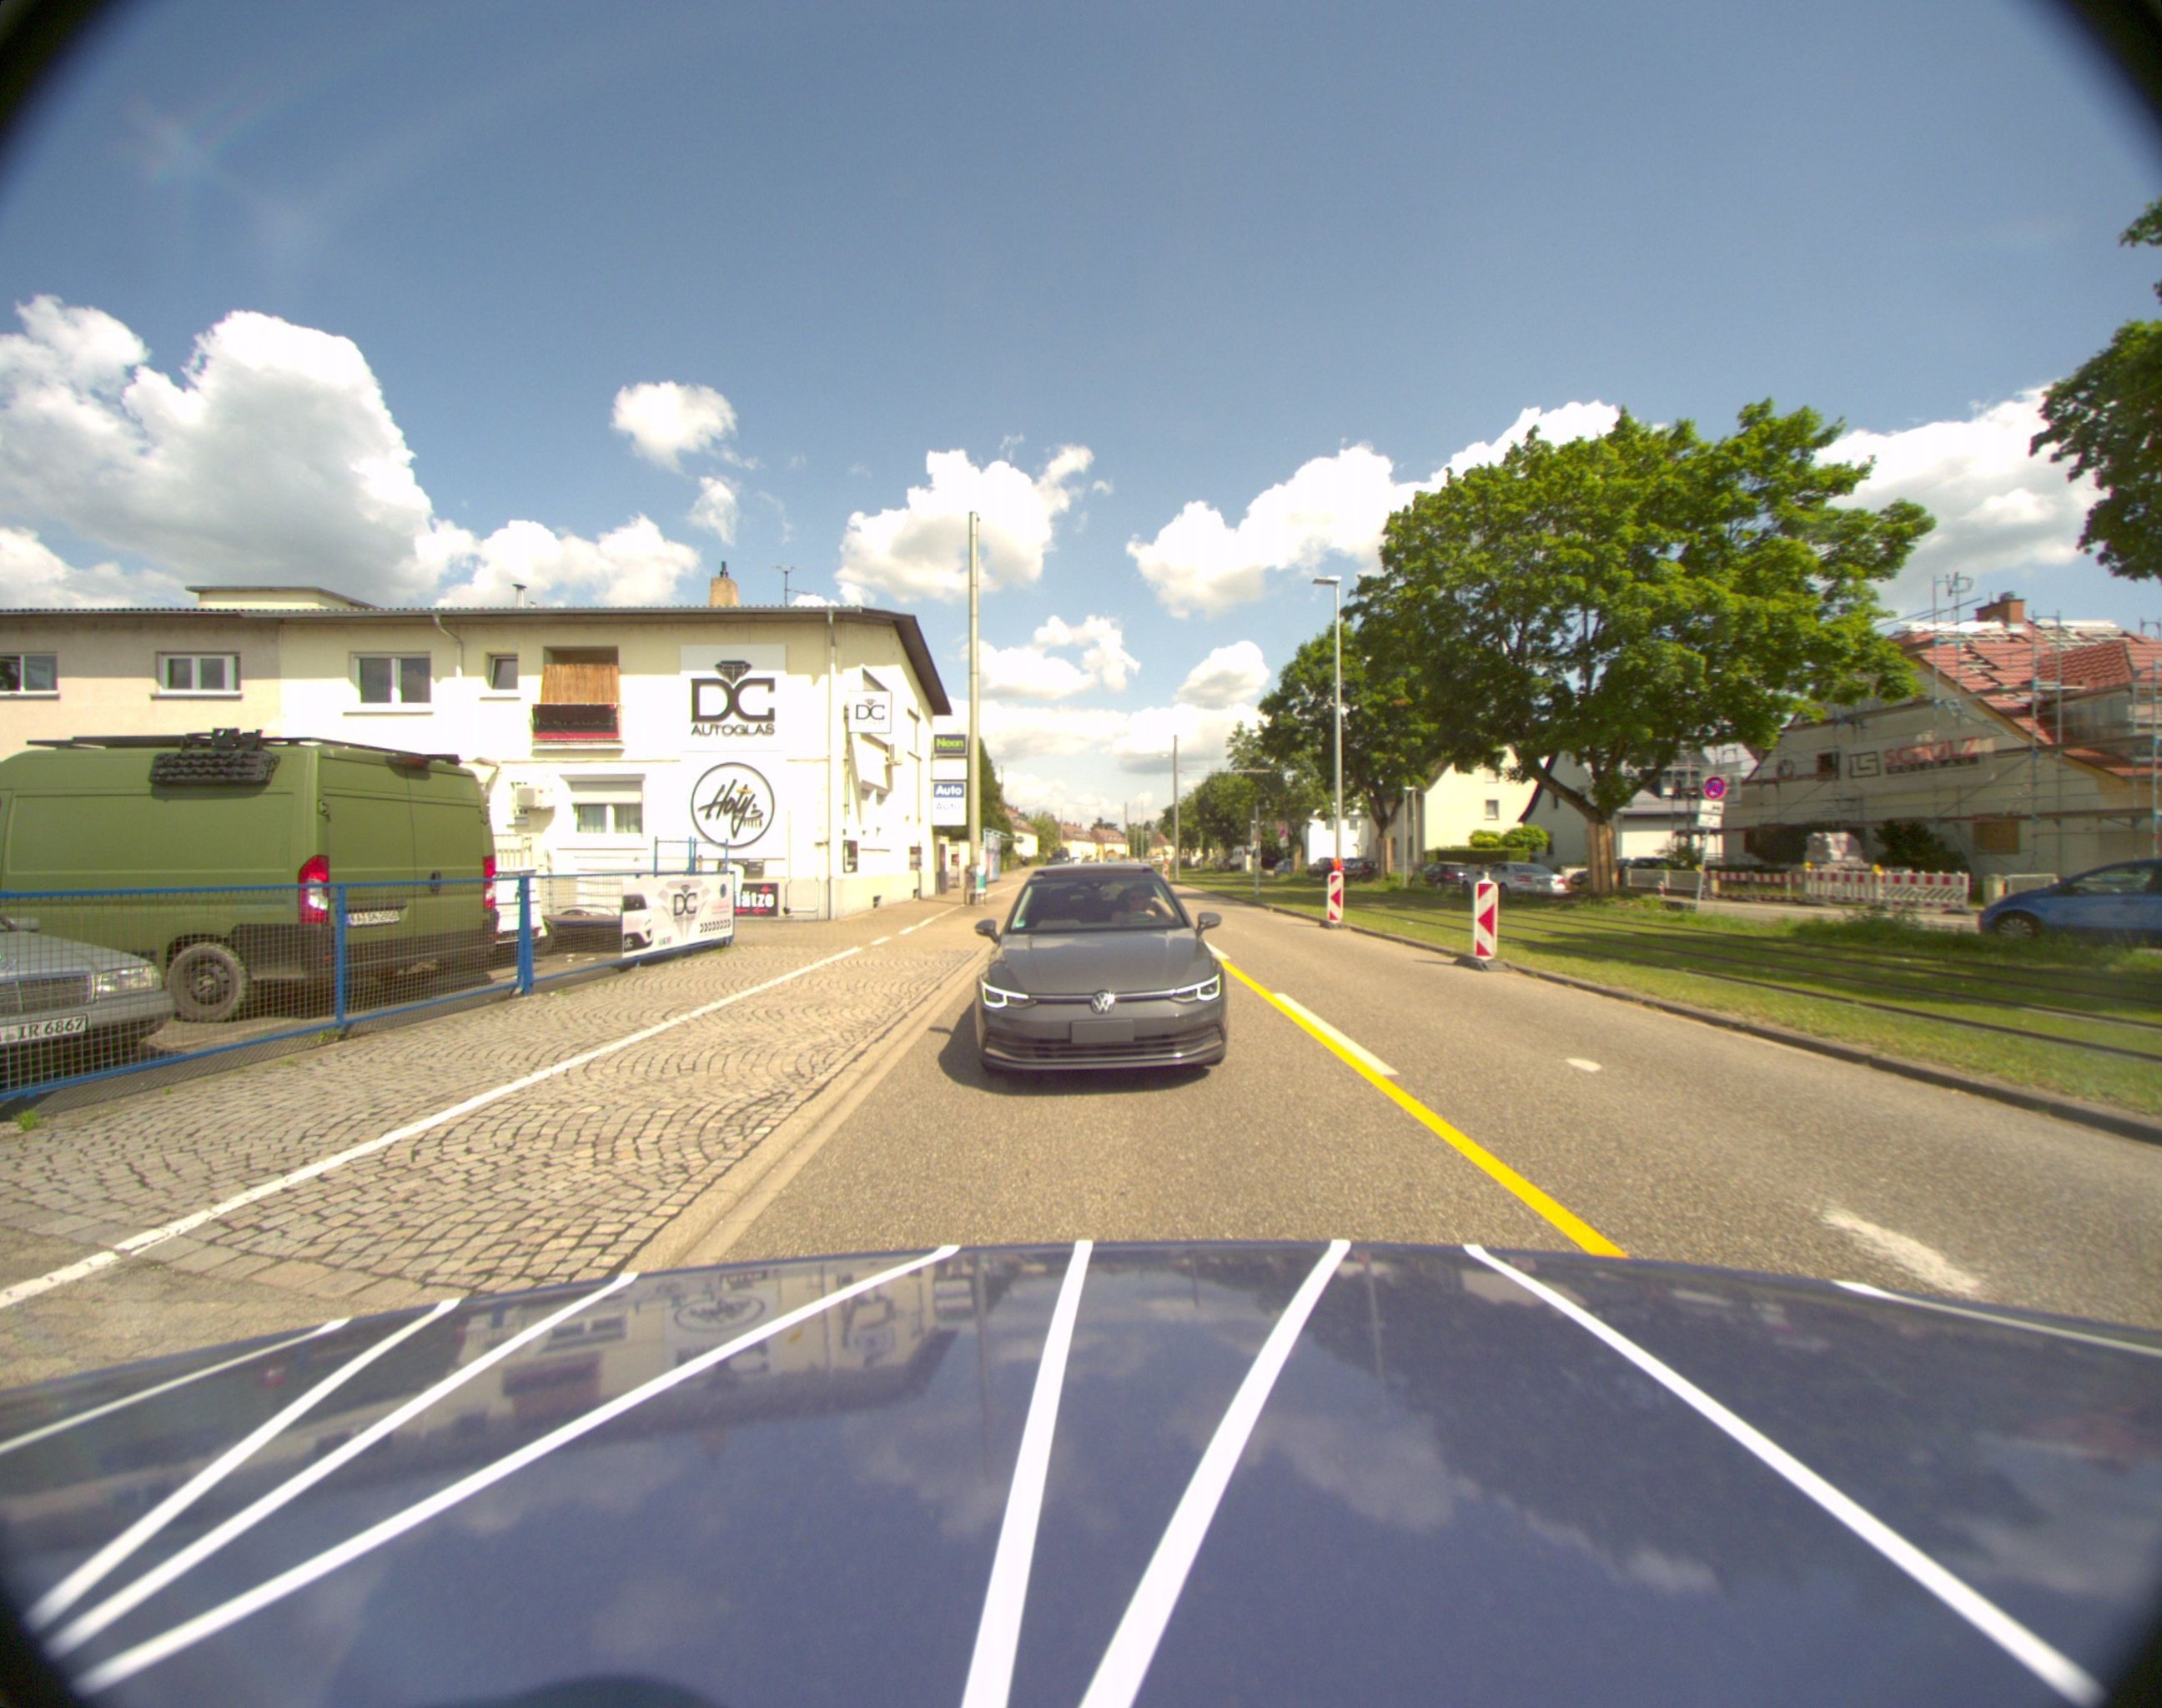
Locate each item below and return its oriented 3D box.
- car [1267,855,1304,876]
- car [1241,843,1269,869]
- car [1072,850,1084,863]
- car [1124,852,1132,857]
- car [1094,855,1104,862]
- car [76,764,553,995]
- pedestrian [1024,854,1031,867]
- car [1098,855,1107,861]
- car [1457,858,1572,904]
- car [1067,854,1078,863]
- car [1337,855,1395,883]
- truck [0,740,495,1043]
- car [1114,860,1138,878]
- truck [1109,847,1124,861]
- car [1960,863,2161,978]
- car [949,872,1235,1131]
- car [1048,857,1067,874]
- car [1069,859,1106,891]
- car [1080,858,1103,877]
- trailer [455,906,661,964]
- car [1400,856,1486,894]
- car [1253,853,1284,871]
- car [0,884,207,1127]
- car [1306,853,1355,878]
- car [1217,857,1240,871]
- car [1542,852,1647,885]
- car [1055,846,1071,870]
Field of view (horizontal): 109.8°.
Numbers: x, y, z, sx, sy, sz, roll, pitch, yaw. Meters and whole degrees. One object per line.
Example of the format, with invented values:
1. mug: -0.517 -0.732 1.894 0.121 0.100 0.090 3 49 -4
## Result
1. car: 16.486 0.917 61.363 1.755 1.602 4.606 0 0 0
2. car: 17.636 0.197 77.078 1.755 2.601 4.606 0 0 0
3. car: -0.440 0.398 136.328 1.719 2.360 5.211 0 0 5
4. car: 13.517 0.232 218.483 1.718 1.470 4.013 0 0 13
5. car: 4.093 0.993 172.742 1.718 1.470 4.011 0 0 8
6. car: -9.461 0.302 9.657 4.209 2.653 1.803 0 0 0
7. pedestrian: -6.361 0.767 90.067 0.816 1.577 0.918 0 0 1
8. car: 5.165 0.995 179.091 1.718 1.470 4.011 0 0 8
9. car: 16.381 0.965 29.013 1.755 1.602 4.606 0 0 0
10. car: -1.376 0.737 122.964 1.720 1.470 4.009 0 0 0
11. car: 16.893 0.851 45.274 1.755 1.602 4.606 0 0 0
12. truck: -8.630 0.329 7.552 3.997 2.592 2.069 0 0 1
13. car: 3.701 1.213 63.613 1.755 1.405 4.261 0 0 0
14. truck: 9.392 0.019 201.141 2.590 3.431 8.585 0 0 11
15. car: 16.232 0.959 11.239 1.755 1.602 4.050 0 0 0
16. car: 0.093 0.938 6.589 1.719 1.470 4.009 0 0 1
17. car: -2.169 1.066 70.992 1.720 1.470 4.009 0 0 0
18. car: 0.327 1.023 37.852 1.719 1.470 4.009 0 0 1
19. car: 0.817 1.026 59.578 1.787 1.470 4.009 0 0 1
20. trailer: -8.069 1.239 11.841 2.329 0.762 1.269 0 0 2
21. car: 16.582 0.917 35.036 1.755 1.602 4.606 0 0 0
22. car: 17.575 0.756 71.502 1.755 1.602 4.606 0 0 0
23. car: -8.443 0.919 4.815 4.206 1.388 1.804 0 0 8
24. car: 16.671 0.764 50.913 1.755 1.602 4.606 0 0 0
25. car: 16.922 1.152 87.276 1.755 1.602 4.606 0 0 0
26. car: 25.504 0.721 37.839 4.047 1.602 1.757 0 0 1
27. car: -1.927 0.411 82.854 1.720 2.526 5.794 0 0 0
